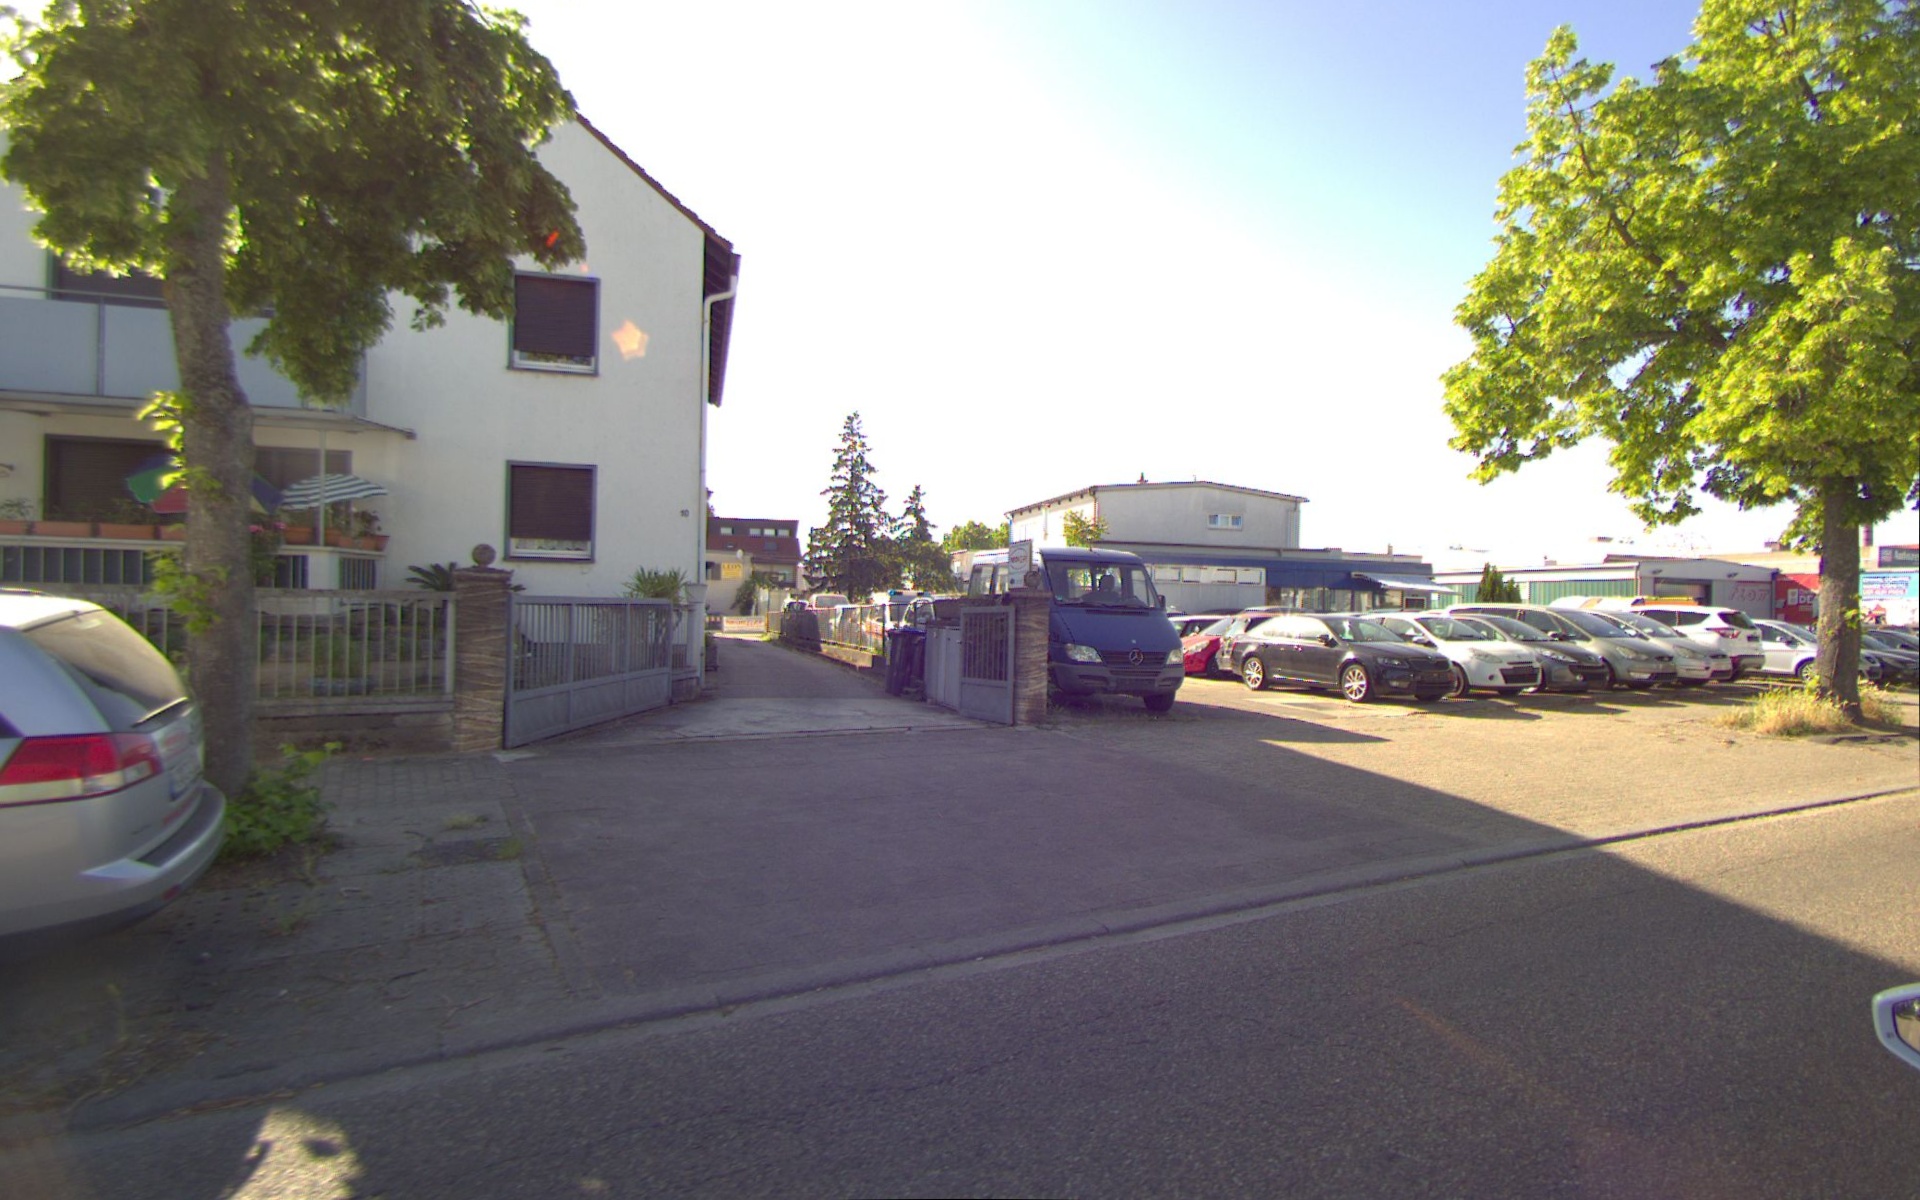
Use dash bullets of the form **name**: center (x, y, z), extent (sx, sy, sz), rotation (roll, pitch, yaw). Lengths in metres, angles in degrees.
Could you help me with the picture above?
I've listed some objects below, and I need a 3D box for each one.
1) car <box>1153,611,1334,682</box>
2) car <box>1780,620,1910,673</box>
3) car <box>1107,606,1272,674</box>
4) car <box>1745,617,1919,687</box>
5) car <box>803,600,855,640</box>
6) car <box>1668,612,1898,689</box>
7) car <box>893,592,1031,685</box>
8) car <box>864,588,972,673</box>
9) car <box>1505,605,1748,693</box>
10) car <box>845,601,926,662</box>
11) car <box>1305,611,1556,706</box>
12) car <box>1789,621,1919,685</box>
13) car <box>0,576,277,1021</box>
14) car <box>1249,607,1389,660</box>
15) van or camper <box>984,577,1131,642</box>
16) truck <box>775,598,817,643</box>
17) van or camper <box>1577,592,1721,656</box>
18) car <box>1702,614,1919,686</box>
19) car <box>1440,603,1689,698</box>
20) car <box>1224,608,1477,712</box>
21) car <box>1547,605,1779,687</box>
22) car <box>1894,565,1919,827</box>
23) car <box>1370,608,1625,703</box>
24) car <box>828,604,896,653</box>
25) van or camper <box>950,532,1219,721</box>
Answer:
- **car**: center (6.682, 1.083, 23.630), extent (3.944, 1.537, 1.660), rotation (1, 0, -24)
- **car**: center (32.281, 1.655, 36.660), extent (4.099, 1.772, 1.775), rotation (0, 0, -19)
- **car**: center (5.904, 1.018, 25.822), extent (3.944, 1.640, 1.660), rotation (1, 0, -24)
- **car**: center (24.664, 1.379, 27.859), extent (1.741, 1.751, 4.239), rotation (1, -1, -23)
- **car**: center (-5.231, 0.769, 39.678), extent (1.478, 1.496, 3.863), rotation (1, 0, -16)
- **car**: center (20.895, 1.225, 25.716), extent (1.743, 1.751, 4.233), rotation (1, -1, -27)
- **car**: center (-0.074, 0.733, 20.001), extent (1.651, 1.600, 3.982), rotation (3, -1, -16)
- **car**: center (-1.098, 0.681, 24.063), extent (1.651, 1.860, 4.041), rotation (1, 0, -16)
- **car**: center (14.594, 1.012, 22.278), extent (1.741, 1.751, 4.239), rotation (1, -1, -23)
- **car**: center (-2.157, 0.825, 28.117), extent (1.478, 1.565, 4.041), rotation (1, 0, -16)
- **car**: center (8.727, 0.997, 19.050), extent (1.741, 1.562, 4.237), rotation (0, 0, -25)
- **car**: center (26.897, 1.509, 29.011), extent (1.741, 1.751, 4.239), rotation (1, -1, -23)
- **car**: center (-4.942, 0.632, 3.399), extent (4.156, 1.454, 1.680), rotation (1, 2, -28)
- **car**: center (11.124, 1.035, 31.112), extent (3.941, 1.576, 1.694), rotation (1, 0, -22)
- **van or camper**: center (2.854, 0.297, 29.457), extent (3.941, 1.797, 1.694), rotation (1, 0, -22)
- **truck**: center (-9.214, 1.090, 55.935), extent (1.601, 2.314, 6.035), rotation (1, 0, -16)
- **van or camper**: center (31.453, 1.094, 45.838), extent (6.173, 2.751, 2.162), rotation (1, 0, -19)
- **car**: center (22.655, 1.273, 26.878), extent (1.741, 1.751, 4.239), rotation (1, -1, -23)
- **car**: center (12.510, 0.976, 21.087), extent (1.742, 1.776, 4.235), rotation (1, -1, -26)
- **car**: center (6.767, 0.971, 17.929), extent (1.741, 1.562, 4.238), rotation (1, 0, -23)
- **car**: center (16.470, 1.023, 23.803), extent (1.741, 1.751, 4.239), rotation (1, -1, -23)
- **car**: center (9.987, 0.788, 8.371), extent (4.760, 2.058, 1.886), rotation (2, -2, -30)
- **car**: center (10.631, 1.020, 20.204), extent (1.745, 1.607, 4.228), rotation (1, 0, -30)
- **car**: center (-3.215, 0.878, 32.366), extent (1.478, 1.451, 4.041), rotation (1, 0, -16)
- **van or camper**: center (1.608, 0.355, 15.134), extent (2.207, 2.351, 4.891), rotation (2, 0, -16)
